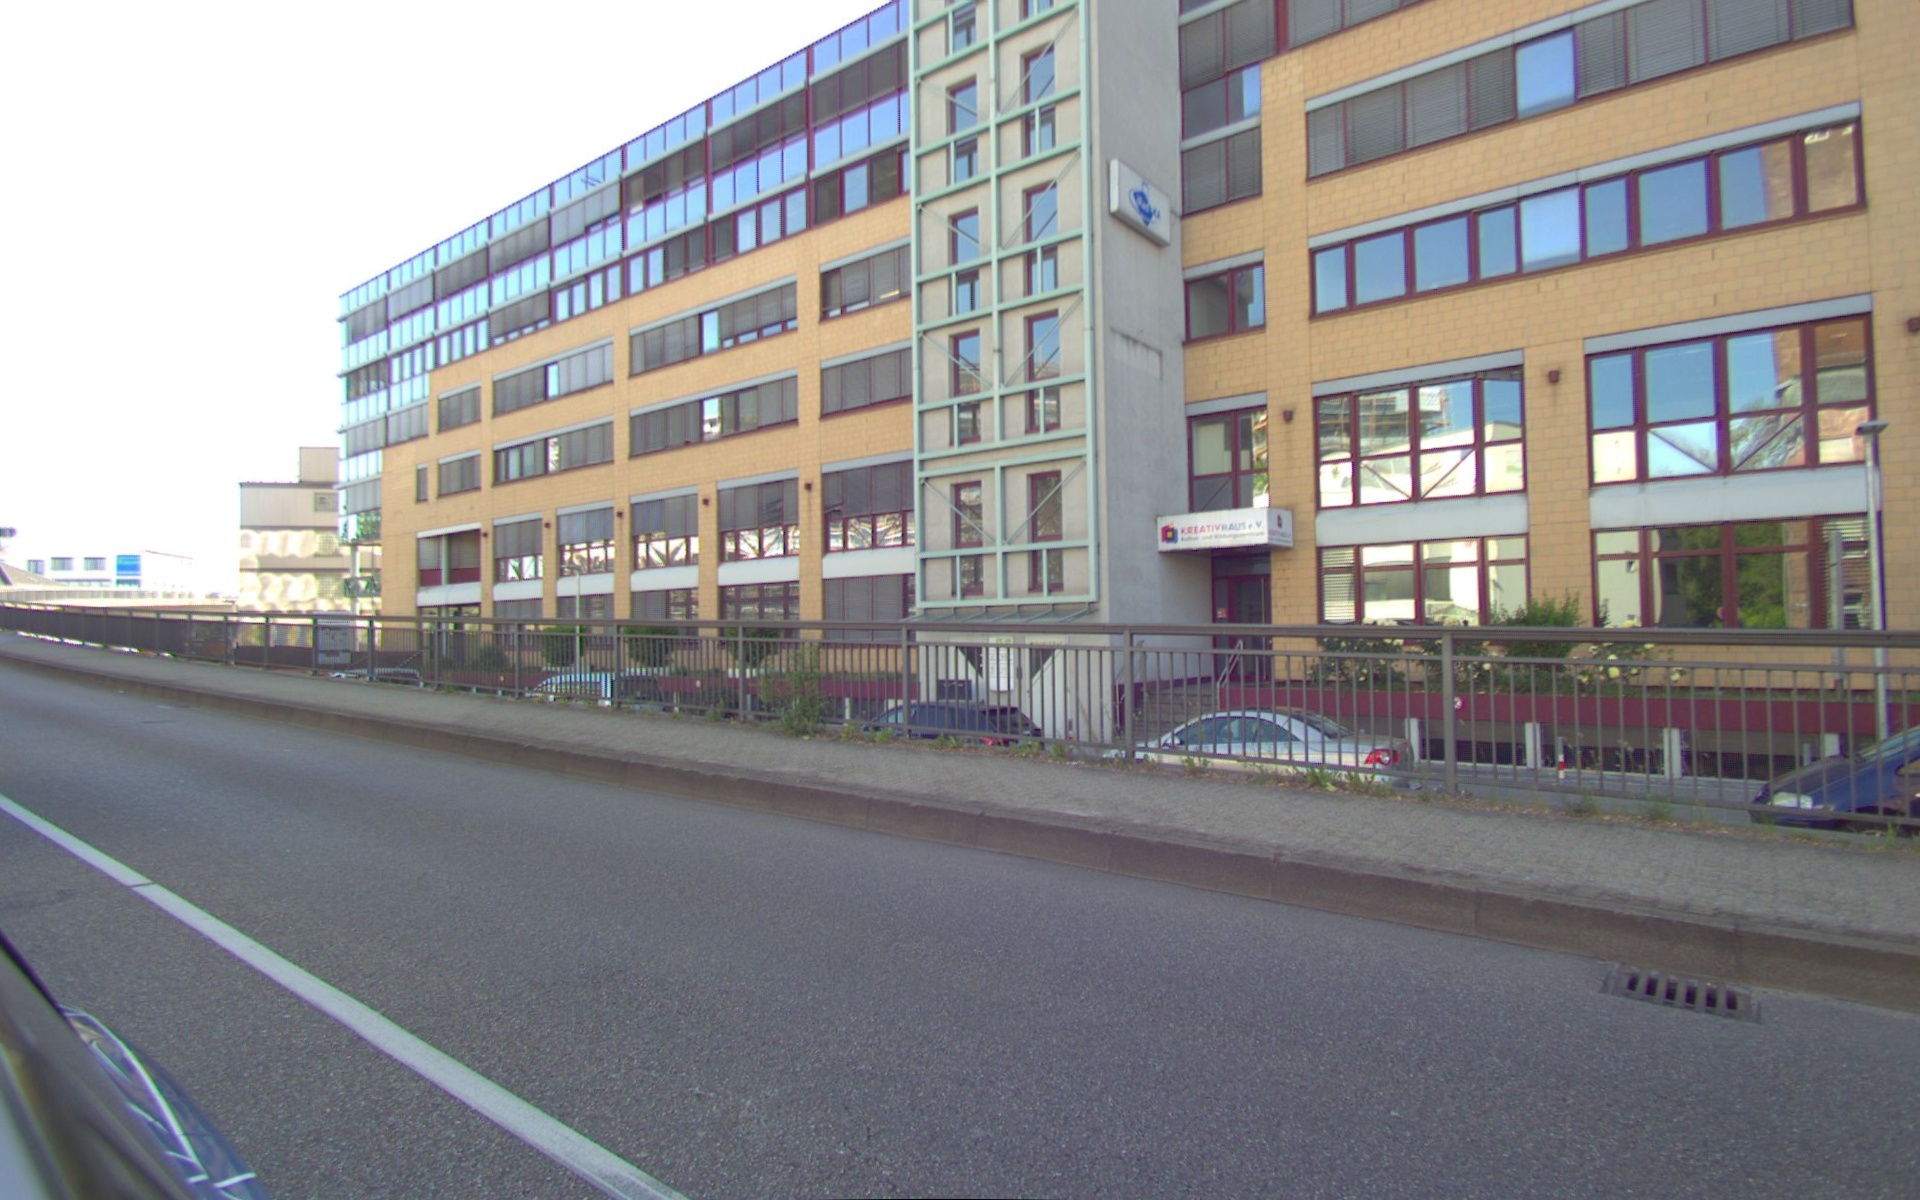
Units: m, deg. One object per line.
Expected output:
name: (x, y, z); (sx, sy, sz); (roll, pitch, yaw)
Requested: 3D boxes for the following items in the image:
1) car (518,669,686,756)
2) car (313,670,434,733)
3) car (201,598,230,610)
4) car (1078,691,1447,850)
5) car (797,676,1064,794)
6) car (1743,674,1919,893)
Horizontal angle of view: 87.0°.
car: (-8.339, 2.512, 23.440); (3.998, 1.737, 1.973); (-3, -3, 41)
car: (-17.837, 3.018, 30.720); (3.998, 1.675, 1.973); (-3, -3, 41)
car: (-90.607, 0.532, 123.212); (1.672, 1.344, 4.012); (0, -1, -18)
car: (3.909, 2.104, 13.495); (4.350, 1.616, 1.803); (-3, -3, 38)
car: (-0.580, 2.141, 16.974); (4.350, 1.616, 1.803); (-3, -3, 38)
car: (9.857, 1.605, 8.808); (4.679, 1.771, 1.933); (-3, -2, 37)
